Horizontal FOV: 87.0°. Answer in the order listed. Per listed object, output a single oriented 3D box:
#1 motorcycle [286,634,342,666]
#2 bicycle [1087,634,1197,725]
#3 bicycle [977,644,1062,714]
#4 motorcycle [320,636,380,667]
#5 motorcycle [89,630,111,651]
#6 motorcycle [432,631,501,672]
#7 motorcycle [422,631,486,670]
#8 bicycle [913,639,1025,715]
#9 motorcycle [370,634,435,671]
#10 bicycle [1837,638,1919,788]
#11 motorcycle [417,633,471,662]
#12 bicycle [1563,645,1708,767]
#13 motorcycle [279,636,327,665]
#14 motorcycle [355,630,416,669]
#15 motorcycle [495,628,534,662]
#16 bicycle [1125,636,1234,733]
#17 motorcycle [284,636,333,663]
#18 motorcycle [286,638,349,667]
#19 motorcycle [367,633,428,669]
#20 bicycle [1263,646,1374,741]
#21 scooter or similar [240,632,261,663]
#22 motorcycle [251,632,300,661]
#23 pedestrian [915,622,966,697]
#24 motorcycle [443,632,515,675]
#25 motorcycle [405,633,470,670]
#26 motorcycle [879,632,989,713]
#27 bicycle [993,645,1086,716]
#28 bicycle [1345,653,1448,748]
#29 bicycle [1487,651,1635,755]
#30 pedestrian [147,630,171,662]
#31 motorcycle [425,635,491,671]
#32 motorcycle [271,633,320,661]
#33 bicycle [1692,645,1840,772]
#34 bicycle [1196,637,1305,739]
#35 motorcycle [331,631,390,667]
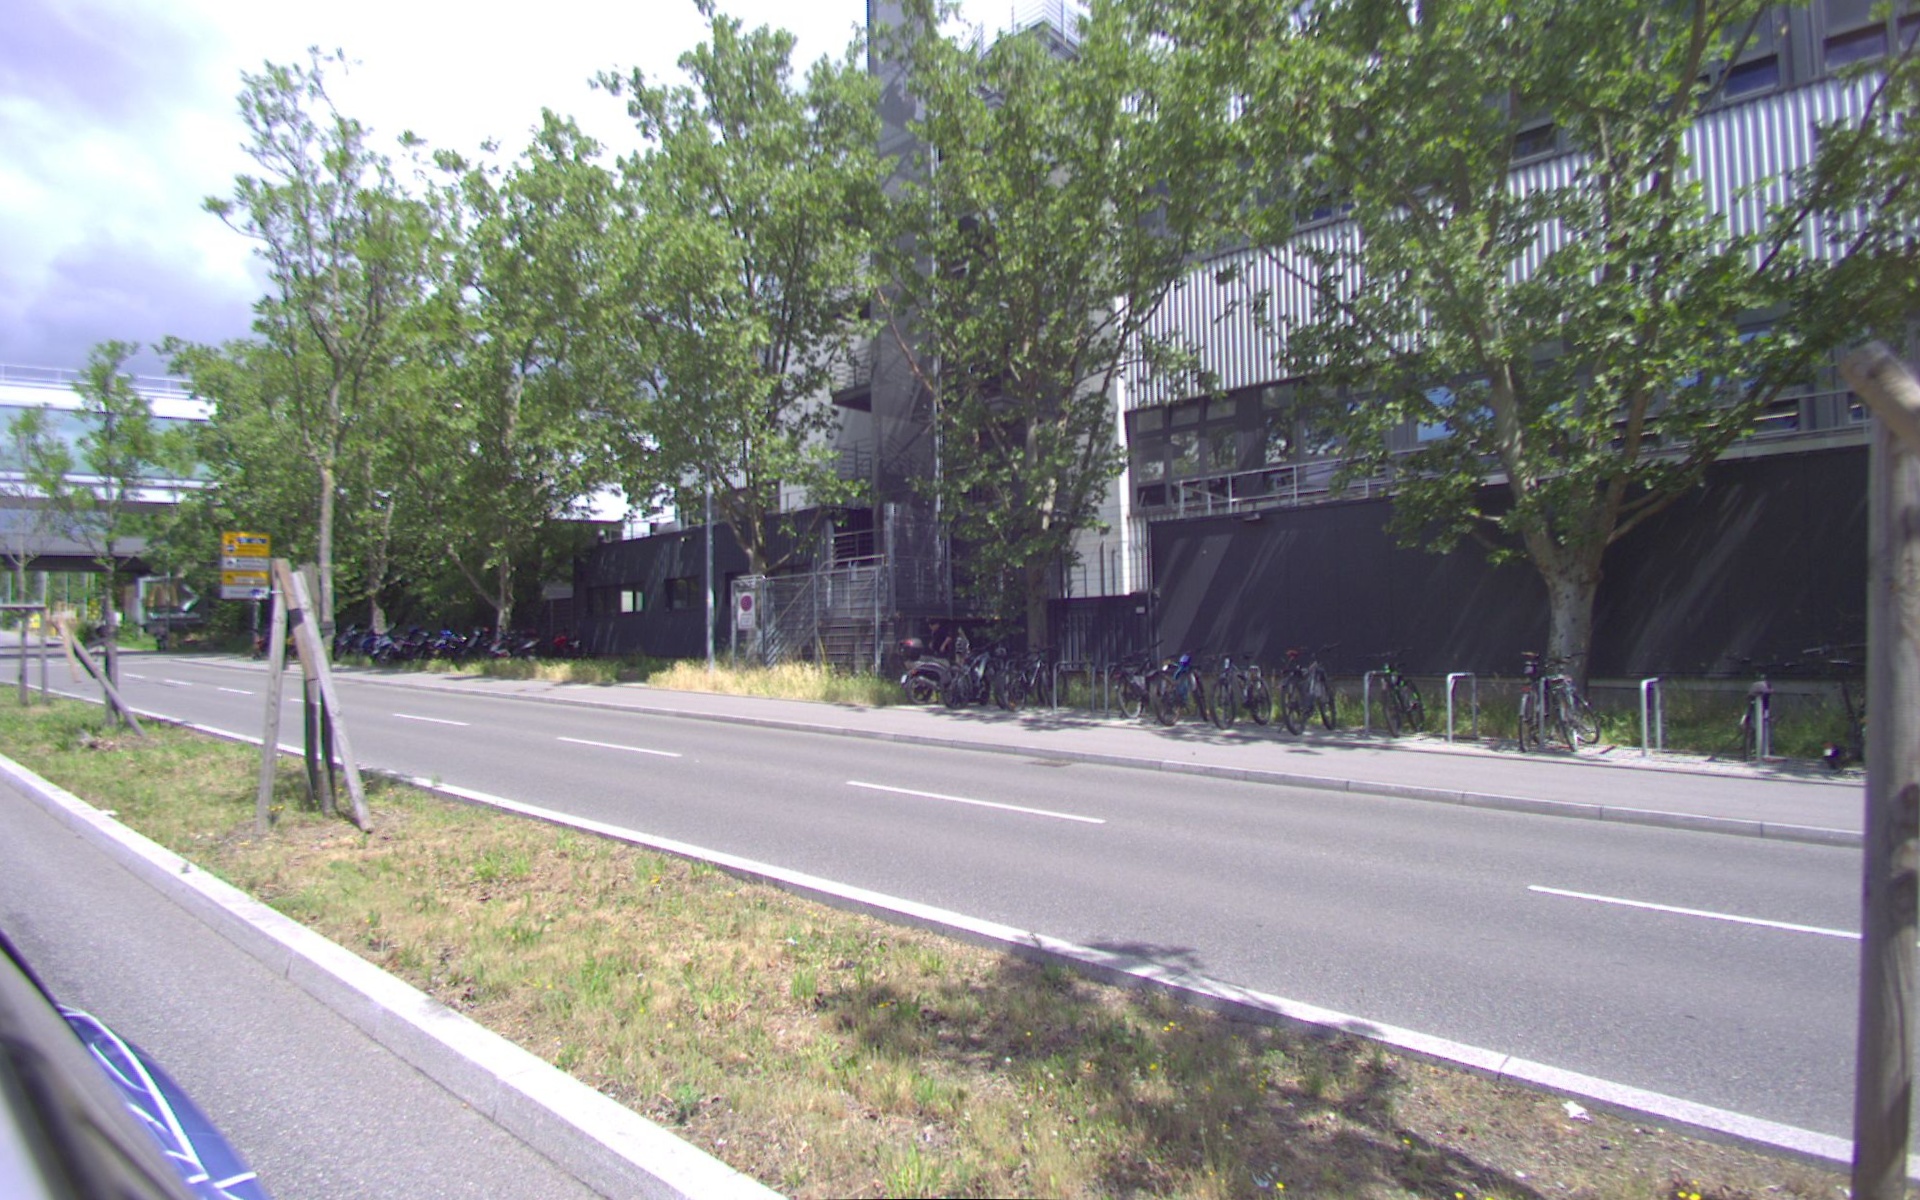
[{"bbox_3d":[-26.816,2.060,42.017,0.849,1.188,1.735,-3,-1,29],"label":"motorcycle"},{"bbox_3d":[2.929,1.218,16.110,0.805,1.292,2.113,-2,-1,39],"label":"bicycle"},{"bbox_3d":[1.056,1.339,17.533,0.422,1.083,1.905,-2,-1,39],"label":"bicycle"},{"bbox_3d":[-24.364,2.048,40.440,1.904,1.124,0.924,-3,-1,-22],"label":"motorcycle"},{"bbox_3d":[-52.773,2.484,62.118,2.256,1.207,0.633,-1,1,40],"label":"motorcycle"},{"bbox_3d":[-16.097,1.664,33.044,1.855,1.195,0.731,-2,0,-41],"label":"motorcycle"},{"bbox_3d":[-17.445,1.741,34.922,0.655,1.219,1.857,-4,-1,44],"label":"motorcycle"},{"bbox_3d":[0.189,1.311,17.659,0.805,1.189,2.113,-2,-1,39],"label":"bicycle"},{"bbox_3d":[-19.735,1.861,35.850,1.855,1.188,0.816,-2,-1,-41],"label":"motorcycle"},{"bbox_3d":[9.095,1.037,10.006,0.555,1.267,2.378,-2,-2,42],"label":"bicycle"},{"bbox_3d":[-21.872,2.000,42.941,1.904,1.124,0.924,-3,-1,-22],"label":"motorcycle"},{"bbox_3d":[7.710,1.138,11.486,2.532,1.166,0.645,0,-1,-40],"label":"bicycle"},{"bbox_3d":[-28.433,2.170,43.794,0.776,1.131,1.574,-4,-1,42],"label":"motorcycle"},{"bbox_3d":[-21.477,1.840,37.873,1.905,1.354,0.867,-2,-1,-29],"label":"motorcycle"},{"bbox_3d":[-16.820,1.699,38.202,0.645,1.219,1.984,-2,-1,-45],"label":"motorcycle"},{"bbox_3d":[3.283,1.210,15.045,0.805,1.292,1.899,-2,-1,39],"label":"bicycle"},{"bbox_3d":[-27.575,2.072,42.819,0.776,1.041,1.574,-4,-1,42],"label":"motorcycle"},{"bbox_3d":[-26.035,2.117,41.032,0.917,1.124,1.919,0,-3,29],"label":"motorcycle"},{"bbox_3d":[-20.512,1.854,36.923,1.853,1.188,0.817,-2,-1,-35],"label":"motorcycle"},{"bbox_3d":[4.853,1.209,13.620,0.805,1.131,1.899,-2,-1,39],"label":"bicycle"},{"bbox_3d":[-29.659,1.982,42.288,1.479,1.245,0.350,0,0,41],"label":"scooter or similar"},{"bbox_3d":[-31.158,2.119,46.091,1.721,1.180,0.777,-2,-1,-41],"label":"motorcycle"},{"bbox_3d":[-0.426,1.262,21.827,0.744,1.563,0.822,0,-2,-40],"label":"pedestrian"},{"bbox_3d":[-14.872,1.645,31.297,1.854,1.182,0.746,-2,-1,-40],"label":"motorcycle"},{"bbox_3d":[-18.345,1.803,35.569,0.698,1.188,1.857,-4,-1,44],"label":"motorcycle"},{"bbox_3d":[-0.439,1.263,18.199,0.805,1.319,2.113,-2,-1,39],"label":"motorcycle"},{"bbox_3d":[1.375,1.330,17.185,0.497,1.070,2.060,-2,-1,39],"label":"bicycle"},{"bbox_3d":[5.833,1.262,13.412,0.848,1.014,2.813,-2,-1,32],"label":"bicycle"},{"bbox_3d":[7.246,1.180,12.133,2.532,1.104,0.697,2,-3,-40],"label":"bicycle"},{"bbox_3d":[-41.817,2.401,52.825,0.812,1.624,0.760,-1,1,40],"label":"pedestrian"},{"bbox_3d":[-16.850,1.763,33.979,1.853,1.093,0.796,-2,-1,-34],"label":"motorcycle"},{"bbox_3d":[-29.266,2.059,44.589,0.773,1.131,1.579,-3,-1,31],"label":"motorcycle"},{"bbox_3d":[8.831,1.117,11.040,2.532,1.166,0.727,0,-1,-40],"label":"bicycle"},{"bbox_3d":[4.141,1.193,14.354,0.806,1.292,1.899,-1,-1,39],"label":"bicycle"},{"bbox_3d":[-23.380,1.904,39.521,1.905,1.300,0.895,-2,-1,-29],"label":"motorcycle"}]
